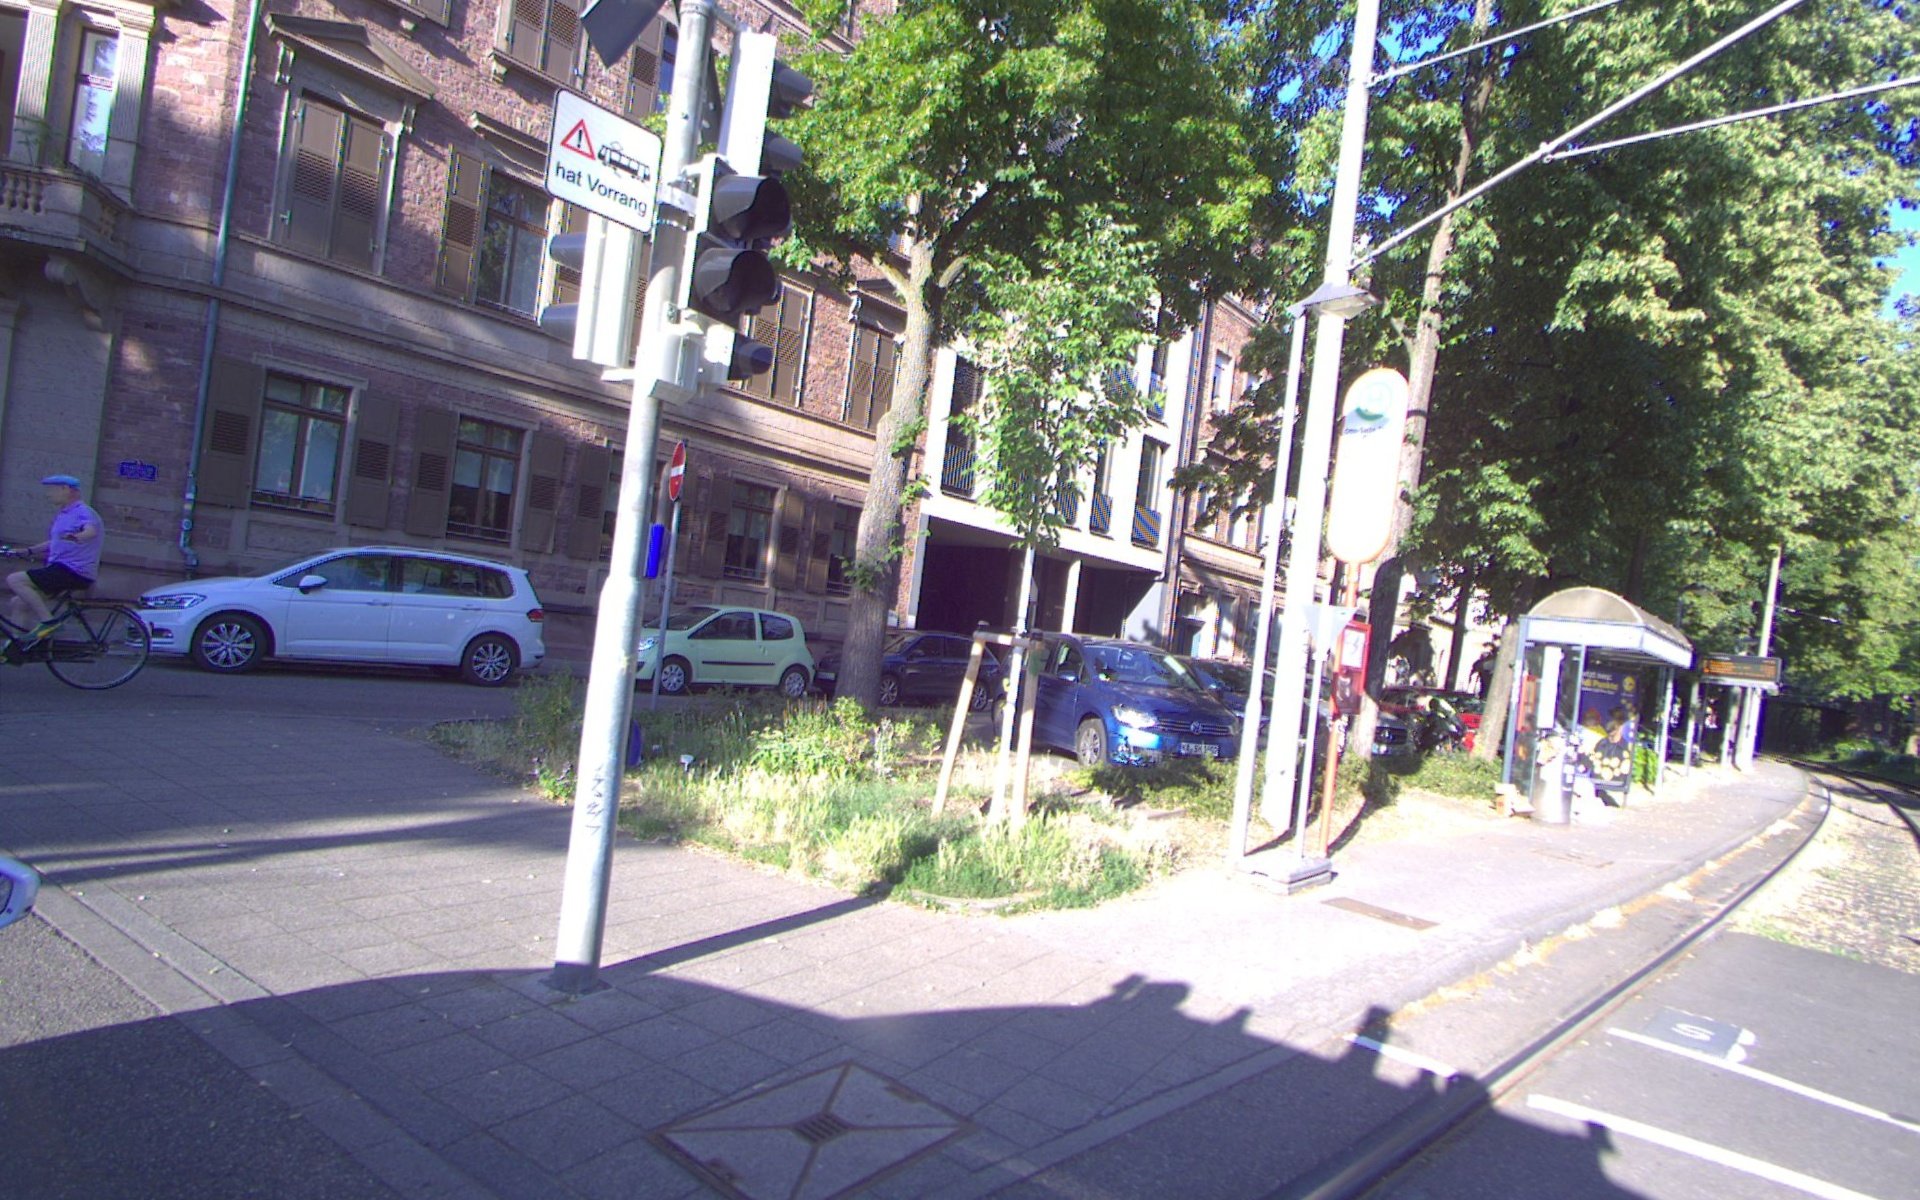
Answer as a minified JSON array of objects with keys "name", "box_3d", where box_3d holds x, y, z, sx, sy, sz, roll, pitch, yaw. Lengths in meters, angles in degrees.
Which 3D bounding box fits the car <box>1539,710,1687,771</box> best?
[{"name":"car","box_3d":[23.422,5.017,36.289,1.782,1.294,4.267,9,-1,-16]}]

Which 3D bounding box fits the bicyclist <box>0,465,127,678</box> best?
[{"name":"bicyclist","box_3d":[-7.590,-0.240,8.262,0.691,1.606,0.871,8,-2,41]}]

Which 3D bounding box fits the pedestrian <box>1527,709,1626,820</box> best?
[{"name":"pedestrian","box_3d":[8.189,2.165,13.360,0.814,1.288,0.872,8,0,45]}]

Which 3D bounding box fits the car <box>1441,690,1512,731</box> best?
[{"name":"car","box_3d":[25.743,5.545,50.063,1.971,1.586,4.594,8,-1,41]}]

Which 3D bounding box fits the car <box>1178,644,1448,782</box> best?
[{"name":"car","box_3d":[5.736,1.786,17.080,1.901,1.505,4.537,9,-1,-16]}]

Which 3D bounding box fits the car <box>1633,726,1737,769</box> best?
[{"name":"car","box_3d":[36.781,7.465,51.150,1.723,1.294,3.986,9,-1,-16]}]

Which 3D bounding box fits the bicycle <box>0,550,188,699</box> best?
[{"name":"bicycle","box_3d":[-7.725,0.156,8.167,0.691,1.066,2.116,7,-3,41]}]

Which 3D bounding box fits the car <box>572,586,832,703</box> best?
[{"name":"car","box_3d":[-4.151,0.775,16.568,1.719,1.506,3.708,4,-4,43]}]

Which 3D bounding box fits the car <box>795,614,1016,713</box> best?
[{"name":"car","box_3d":[-0.974,1.286,19.688,1.720,1.506,4.143,4,-4,45]}]

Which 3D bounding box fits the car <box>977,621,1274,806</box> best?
[{"name":"car","box_3d":[1.856,1.286,12.886,1.717,1.706,4.404,8,-2,-18]}]

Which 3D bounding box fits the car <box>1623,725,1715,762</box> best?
[{"name":"car","box_3d":[40.182,8.124,57.128,1.723,1.294,3.986,9,-1,-16]}]

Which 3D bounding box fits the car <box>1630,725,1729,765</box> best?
[{"name":"car","box_3d":[38.525,7.761,53.977,1.723,1.294,3.986,9,-1,-16]}]

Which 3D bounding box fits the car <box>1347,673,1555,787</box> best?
[{"name":"car","box_3d":[10.912,2.822,22.808,1.897,1.742,4.547,9,-1,-7]}]

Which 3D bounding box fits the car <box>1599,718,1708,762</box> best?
[{"name":"car","box_3d":[33.123,6.669,48.163,1.723,1.294,3.986,9,-1,-16]}]

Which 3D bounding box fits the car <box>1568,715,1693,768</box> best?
[{"name":"car","box_3d":[27.261,5.734,41.060,1.723,1.294,3.986,9,-1,-16]}]

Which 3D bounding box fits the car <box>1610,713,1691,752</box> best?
[{"name":"car","box_3d":[46.732,8.940,68.143,1.730,1.788,3.968,9,0,-30]}]

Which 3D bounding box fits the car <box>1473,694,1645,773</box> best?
[{"name":"car","box_3d":[17.589,3.871,29.792,1.781,1.505,4.271,9,-1,-13]}]

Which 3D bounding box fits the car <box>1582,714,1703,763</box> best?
[{"name":"car","box_3d":[29.140,5.900,43.087,1.723,1.294,3.986,9,-1,-16]}]

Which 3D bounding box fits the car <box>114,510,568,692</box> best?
[{"name":"car","box_3d":[-7.620,0.117,12.741,1.851,1.668,4.475,4,-4,44]}]

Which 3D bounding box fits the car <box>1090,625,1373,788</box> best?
[{"name":"car","box_3d":[3.845,1.464,15.256,1.901,1.654,4.537,9,0,-16]}]

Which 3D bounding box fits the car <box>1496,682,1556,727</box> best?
[{"name":"car","box_3d":[33.181,6.140,58.911,1.971,2.198,4.594,9,0,41]}]
